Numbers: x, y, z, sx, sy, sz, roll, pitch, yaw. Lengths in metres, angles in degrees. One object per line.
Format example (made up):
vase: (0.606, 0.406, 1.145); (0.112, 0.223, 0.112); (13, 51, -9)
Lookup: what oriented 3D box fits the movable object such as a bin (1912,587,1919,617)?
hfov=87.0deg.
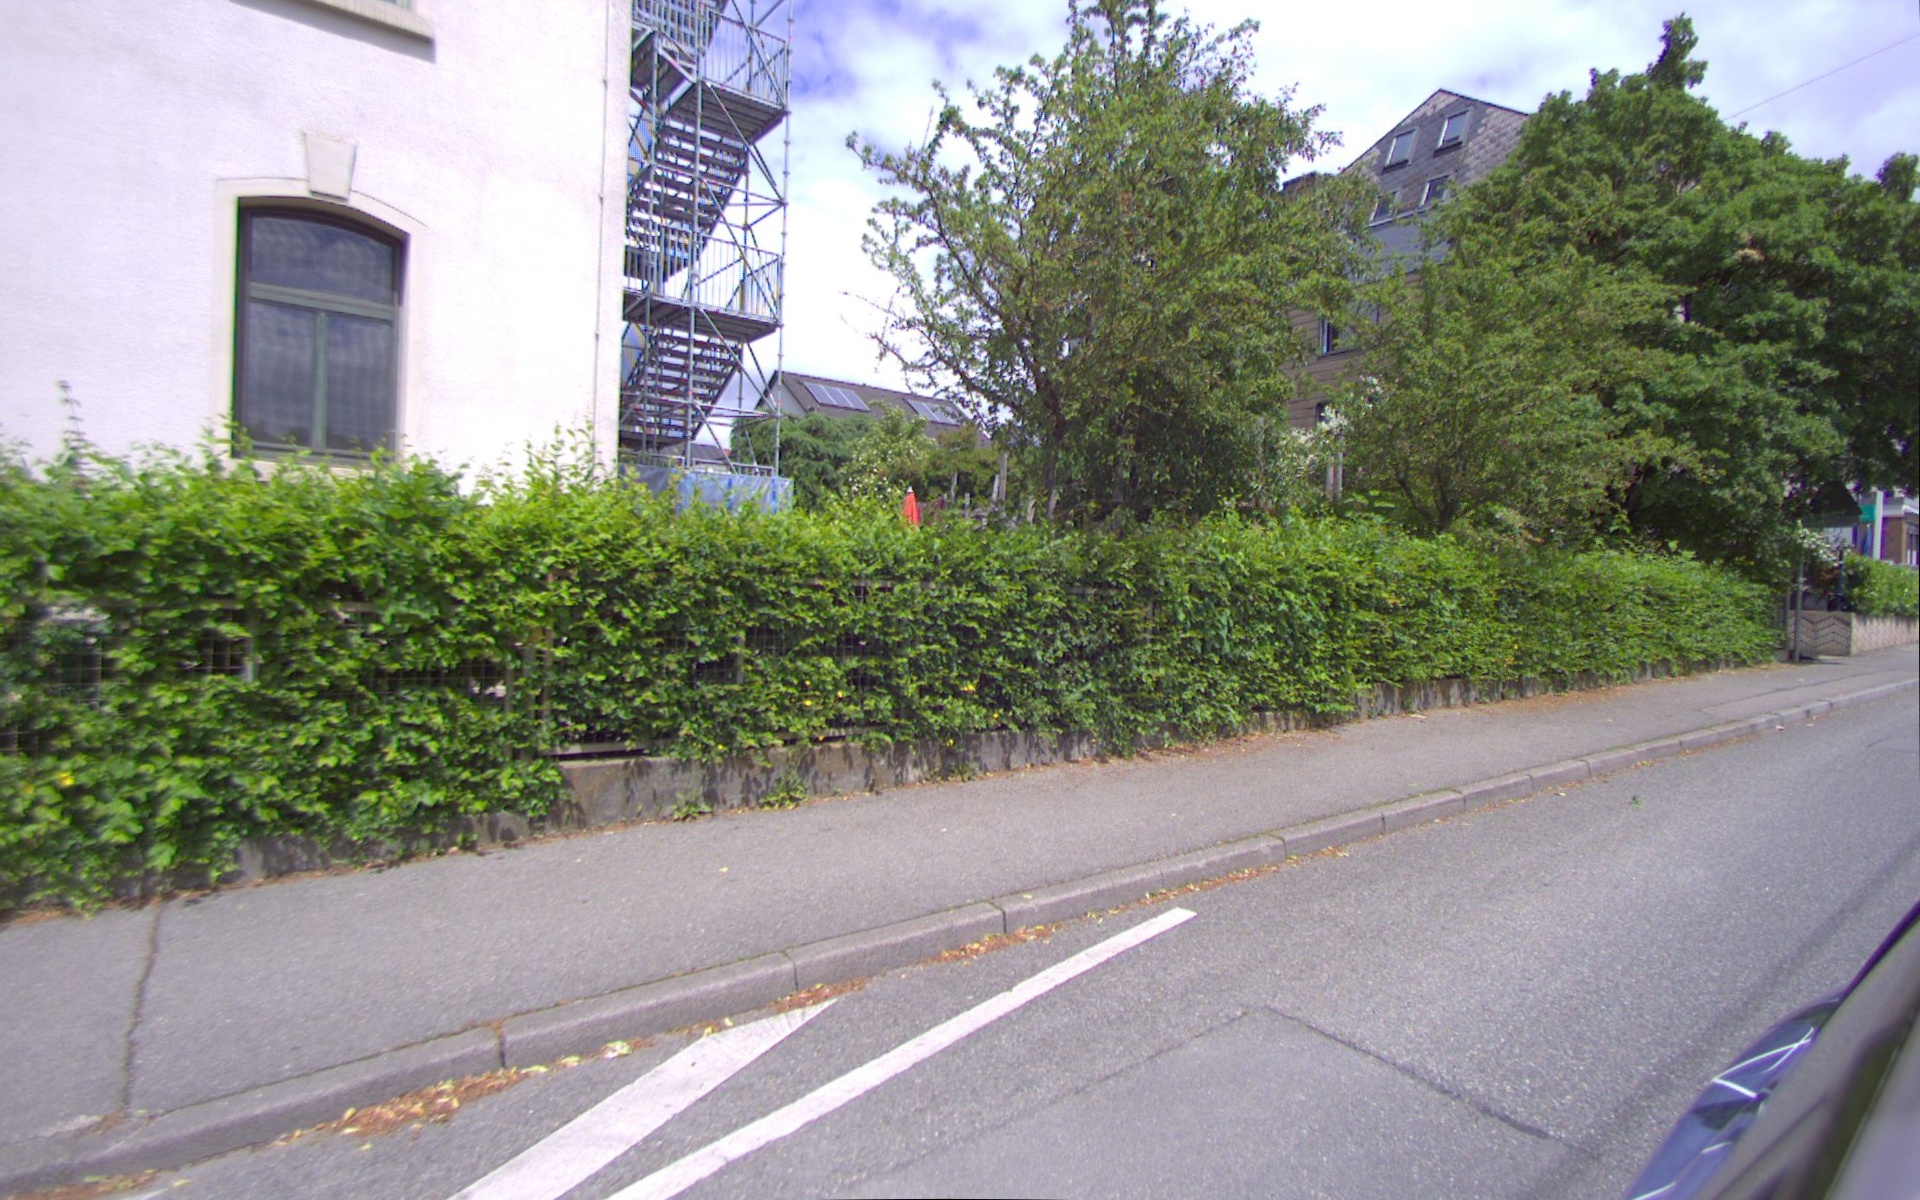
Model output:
movable object such as a bin: (30.167, 0.099, 31.395); (0.461, 0.925, 0.790); (-1, 6, -38)
